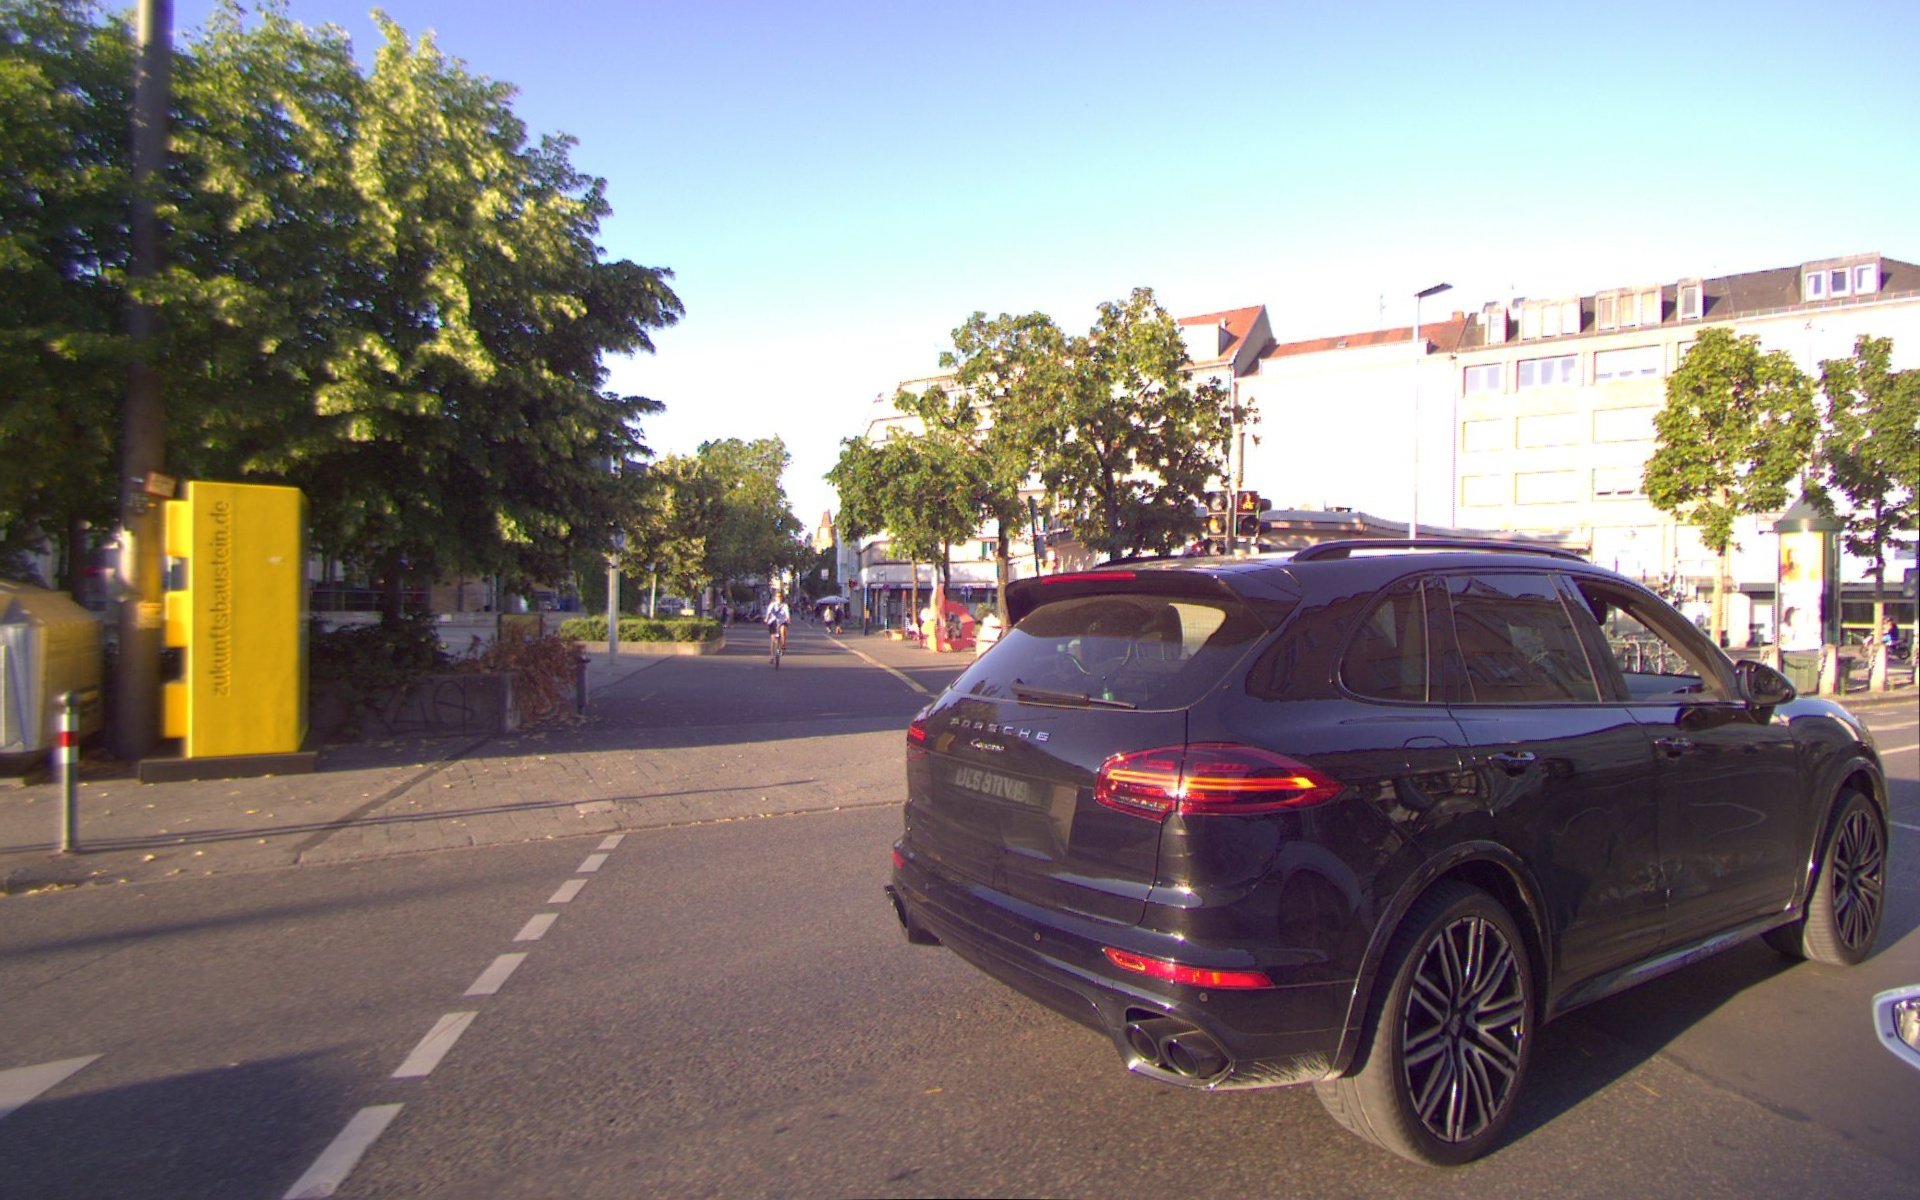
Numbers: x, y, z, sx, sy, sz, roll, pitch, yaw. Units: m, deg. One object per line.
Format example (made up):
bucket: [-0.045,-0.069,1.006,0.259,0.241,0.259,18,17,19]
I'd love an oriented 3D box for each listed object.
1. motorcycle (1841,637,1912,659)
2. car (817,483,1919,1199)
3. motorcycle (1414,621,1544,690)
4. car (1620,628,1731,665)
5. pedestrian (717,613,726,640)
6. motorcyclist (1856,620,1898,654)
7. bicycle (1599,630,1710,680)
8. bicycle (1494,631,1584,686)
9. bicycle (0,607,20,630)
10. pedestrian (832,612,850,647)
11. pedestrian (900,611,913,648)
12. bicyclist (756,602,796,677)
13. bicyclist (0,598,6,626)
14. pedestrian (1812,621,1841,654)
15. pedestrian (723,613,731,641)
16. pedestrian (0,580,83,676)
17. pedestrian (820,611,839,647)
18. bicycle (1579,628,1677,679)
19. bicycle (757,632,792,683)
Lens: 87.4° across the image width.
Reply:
motorcycle: [36.522,1.902,40.071,0.653,0.791,2.025,1,0,-18]
car: [1.885,0.675,4.087,4.511,1.737,1.938,1,-1,-32]
motorcycle: [11.619,1.202,22.601,0.858,1.448,2.569,1,-1,-29]
car: [33.061,2.125,46.468,3.944,1.506,1.989,0,0,43]
pedestrian: [-17.633,1.960,74.291,0.563,2.040,0.394,1,0,-21]
motorcyclist: [36.568,1.476,40.073,0.756,1.337,0.990,1,0,-21]
bicycle: [19.048,1.480,27.620,0.778,1.273,2.432,1,-1,-29]
bicycle: [14.135,1.410,24.579,0.625,1.273,1.845,1,-1,-30]
bicycle: [-52.547,1.007,54.633,0.571,1.277,2.023,2,0,35]
pedestrian: [-7.001,1.710,59.040,0.650,2.040,0.809,2,0,33]
pedestrian: [-3.061,1.690,57.757,0.648,2.040,0.811,2,0,-1]
bicyclist: [-4.373,0.923,23.799,0.841,1.747,0.776,1,-1,-16]
bicyclist: [-52.560,0.646,54.661,0.630,1.467,0.768,2,0,35]
pedestrian: [41.831,1.793,48.494,0.933,1.558,0.906,0,-1,34]
pedestrian: [-17.030,1.977,73.394,0.563,2.040,0.394,1,0,-21]
pedestrian: [-16.329,0.489,17.859,0.824,1.642,0.705,2,0,7]
pedestrian: [-7.597,1.676,58.435,0.650,2.040,0.809,2,0,35]
bicycle: [17.947,1.412,27.039,0.938,1.273,1.996,1,-1,-30]
bicycle: [-4.419,1.338,23.801,0.693,1.132,1.916,1,-1,-14]
